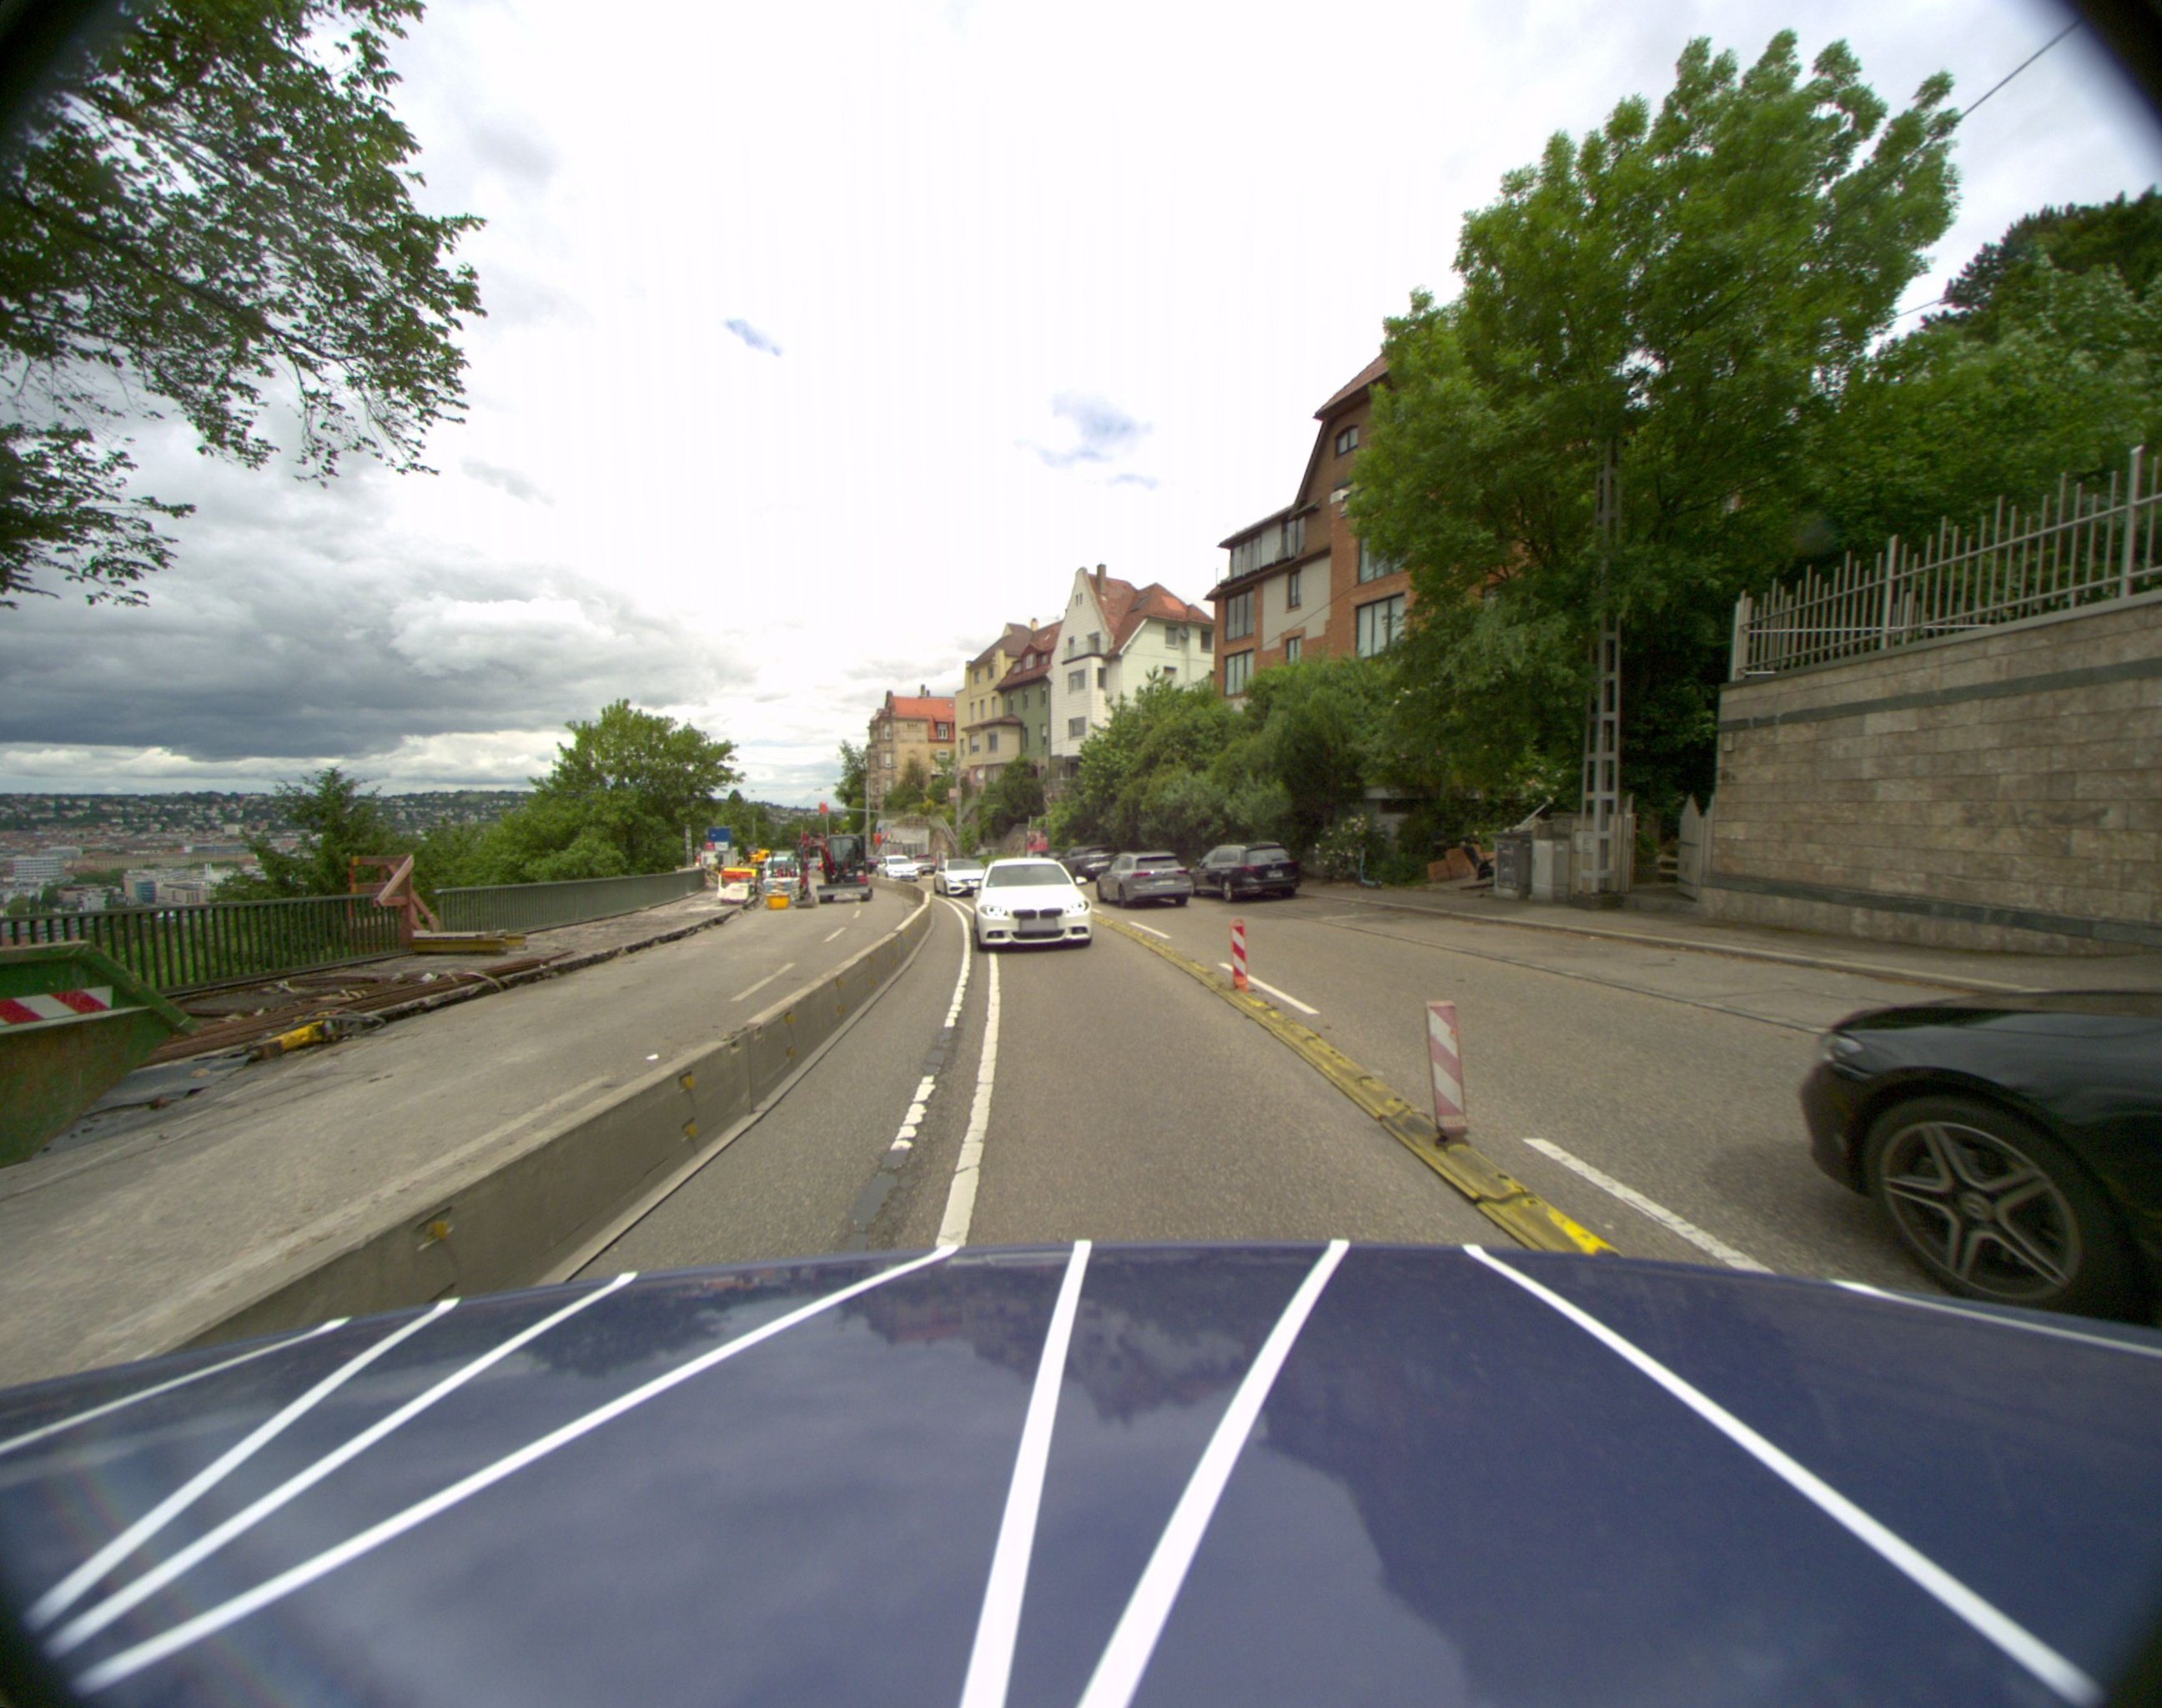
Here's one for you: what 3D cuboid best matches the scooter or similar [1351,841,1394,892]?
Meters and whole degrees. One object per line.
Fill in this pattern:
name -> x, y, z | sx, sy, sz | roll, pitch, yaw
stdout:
scooter or similar -> 7.526, 0.304, 19.626 | 0.406, 1.250, 0.962 | -6, 2, -21

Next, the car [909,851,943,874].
car -> -11.056, 0.563, 53.884 | 1.693, 1.499, 3.656 | -3, 1, -22

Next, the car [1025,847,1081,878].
car -> -1.529, 0.456, 40.390 | 1.684, 1.409, 3.784 | -6, 2, -22

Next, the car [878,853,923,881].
car -> -10.918, 0.746, 45.712 | 1.889, 1.569, 3.992 | -3, 1, -24

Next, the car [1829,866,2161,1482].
car -> 3.537, 0.796, 0.544 | 1.867, 1.445, 4.218 | -2, 1, 1

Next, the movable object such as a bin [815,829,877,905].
movable object such as a bin -> -8.644, 0.455, 28.231 | 1.865, 2.580, 3.436 | -2, 1, -13

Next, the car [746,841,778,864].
car -> -30.961, -0.148, 73.711 | 2.003, 2.089, 4.059 | -3, 1, -35

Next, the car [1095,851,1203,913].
car -> 1.726, 0.690, 20.756 | 1.801, 1.462, 4.196 | -2, 0, -11

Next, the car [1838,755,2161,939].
car -> 10.522, -0.200, 8.070 | 1.571, 1.596, 3.586 | -2, 5, 6

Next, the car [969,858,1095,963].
car -> -1.041, 0.862, 13.947 | 1.853, 1.458, 4.875 | -2, 1, -7

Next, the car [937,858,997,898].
car -> -4.521, 0.887, 29.704 | 1.800, 1.299, 4.093 | 0, 2, -16

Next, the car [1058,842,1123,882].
car -> 0.379, 0.360, 35.213 | 1.771, 1.587, 3.785 | -6, 2, -18

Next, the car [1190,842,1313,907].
car -> 4.457, 0.488, 20.456 | 1.825, 1.426, 3.712 | -6, 1, -10

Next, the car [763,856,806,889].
car -> -16.293, 0.982, 41.660 | 1.796, 1.676, 3.991 | -3, 1, -26
